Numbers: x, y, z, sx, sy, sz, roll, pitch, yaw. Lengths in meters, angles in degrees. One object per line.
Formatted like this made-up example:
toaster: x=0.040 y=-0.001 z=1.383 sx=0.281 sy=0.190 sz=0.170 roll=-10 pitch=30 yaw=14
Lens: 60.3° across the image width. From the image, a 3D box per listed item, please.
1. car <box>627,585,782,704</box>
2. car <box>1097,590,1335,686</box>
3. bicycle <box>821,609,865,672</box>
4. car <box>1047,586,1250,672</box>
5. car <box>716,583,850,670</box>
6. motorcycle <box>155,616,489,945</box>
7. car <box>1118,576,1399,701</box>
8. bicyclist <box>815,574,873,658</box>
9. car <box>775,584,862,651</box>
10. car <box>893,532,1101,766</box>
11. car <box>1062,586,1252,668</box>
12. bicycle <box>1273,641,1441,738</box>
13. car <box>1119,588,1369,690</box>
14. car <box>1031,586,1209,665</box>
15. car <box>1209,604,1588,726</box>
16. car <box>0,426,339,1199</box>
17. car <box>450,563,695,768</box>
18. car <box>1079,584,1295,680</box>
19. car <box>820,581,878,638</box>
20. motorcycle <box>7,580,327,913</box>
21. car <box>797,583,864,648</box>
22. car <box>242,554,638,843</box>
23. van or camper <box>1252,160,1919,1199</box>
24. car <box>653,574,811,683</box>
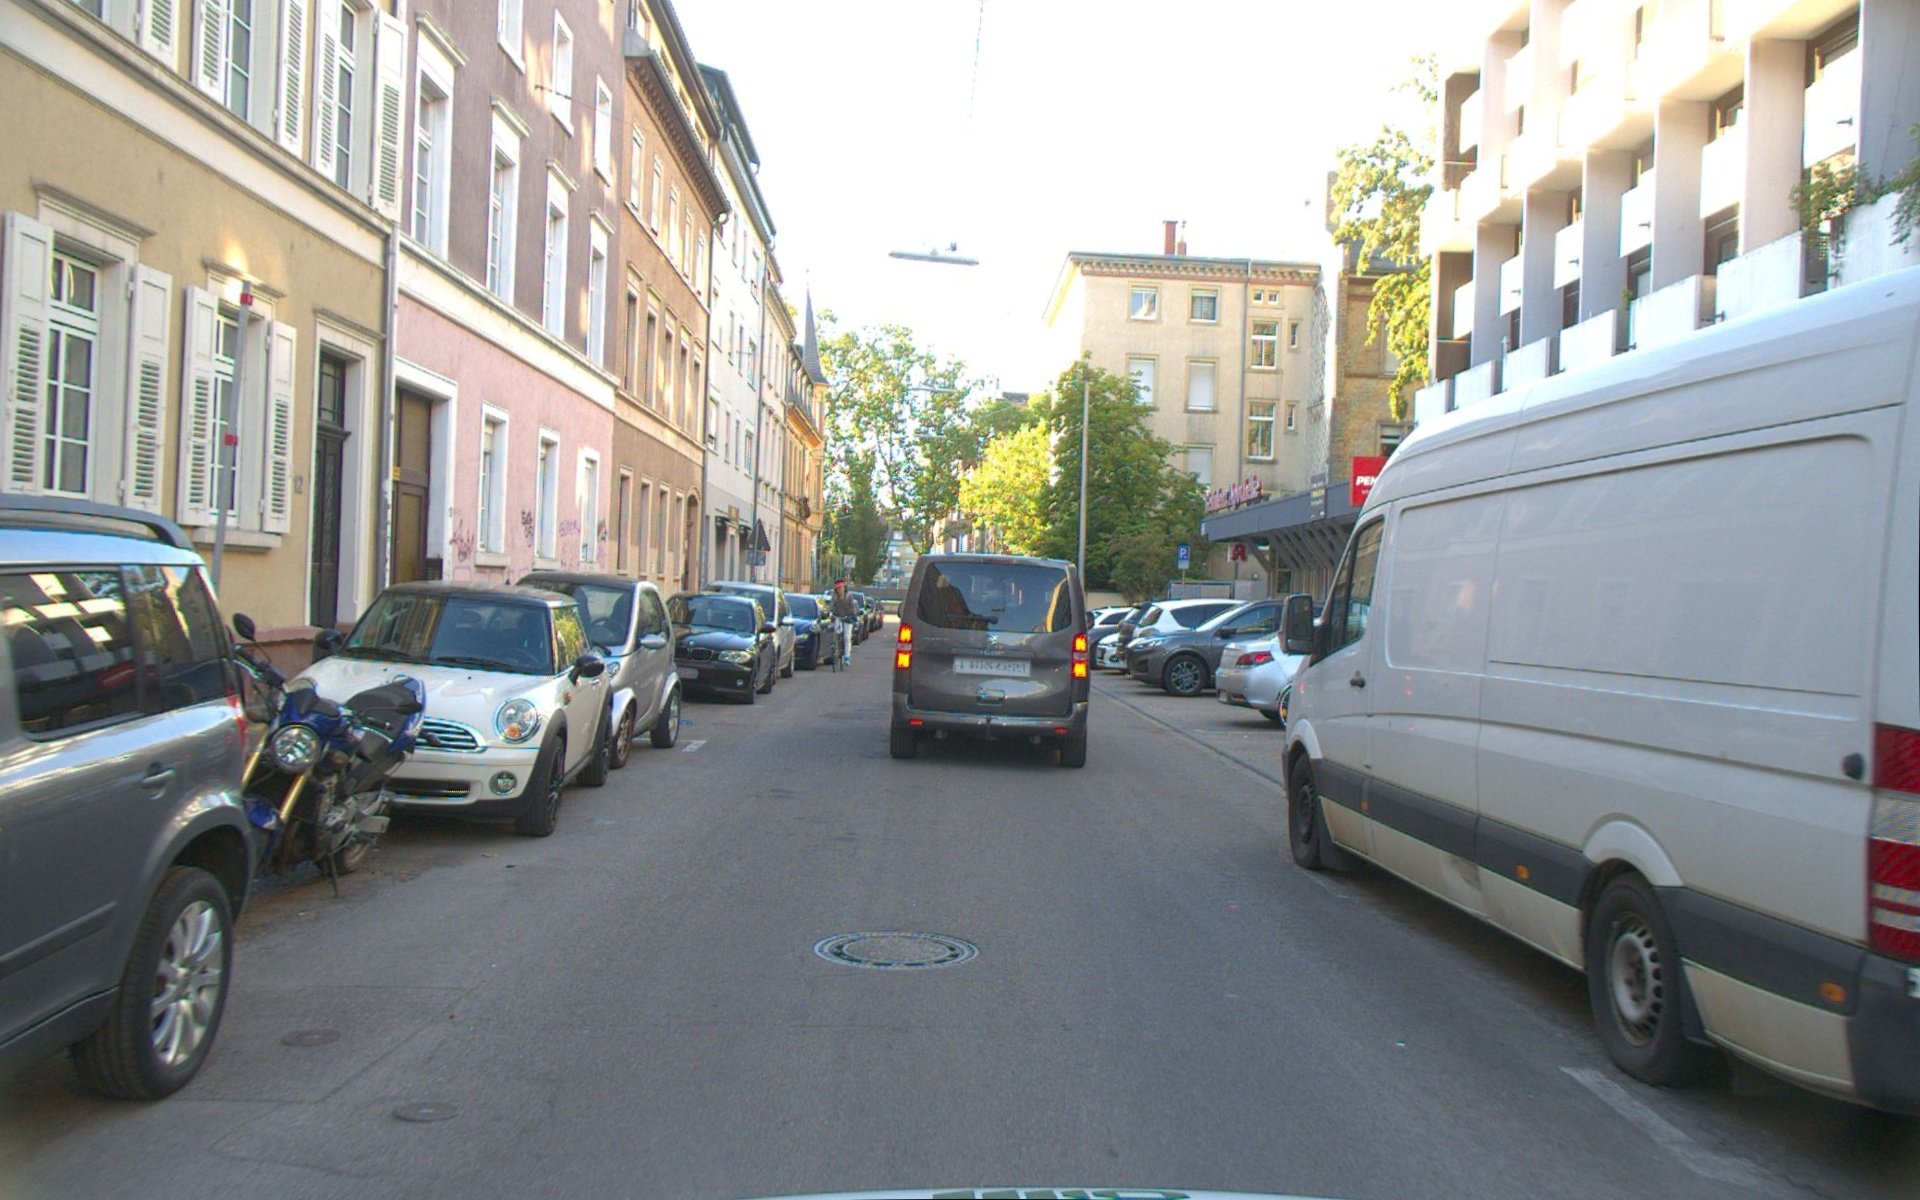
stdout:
car: x=-3.521 y=0.556 z=23.492 sx=1.753 sy=1.422 sz=4.464 roll=3 pitch=0 yaw=-4
car: x=5.295 y=0.774 z=34.504 sx=4.484 sy=1.734 sz=1.996 roll=3 pitch=0 yaw=-9
bicycle: x=-2.268 y=0.767 z=32.289 sx=0.608 sy=1.158 sz=2.258 roll=1 pitch=0 yaw=2
car: x=4.520 y=0.686 z=40.025 sx=4.484 sy=1.823 sz=1.996 roll=3 pitch=0 yaw=-9
car: x=-3.580 y=0.503 z=34.304 sx=1.952 sy=1.587 sz=4.587 roll=3 pitch=0 yaw=3
motorcycle: x=-2.901 y=0.735 z=7.855 sx=0.696 sy=1.256 sz=2.474 roll=2 pitch=0 yaw=-3
car: x=5.165 y=0.654 z=29.036 sx=4.478 sy=1.891 sz=1.999 roll=3 pitch=0 yaw=-3
bicyclist: x=-2.283 y=0.309 z=32.590 sx=1.013 sy=1.605 sz=0.833 roll=1 pitch=0 yaw=3
car: x=-3.720 y=0.433 z=43.907 sx=2.102 sy=1.588 sz=4.581 roll=3 pitch=0 yaw=-4
car: x=0.346 y=0.417 z=16.547 sx=1.819 sy=2.049 sz=4.000 roll=0 pitch=0 yaw=1
car: x=5.076 y=0.689 z=43.019 sx=4.484 sy=1.891 sz=1.996 roll=3 pitch=0 yaw=-9
bicycle: x=4.780 y=1.076 z=19.994 sx=1.859 sy=1.085 sz=0.679 roll=1 pitch=0 yaw=2
car: x=5.411 y=0.736 z=31.831 sx=4.370 sy=1.705 sz=1.795 roll=3 pitch=0 yaw=-6
car: x=4.363 y=0.685 z=45.427 sx=4.484 sy=1.891 sz=1.996 roll=3 pitch=0 yaw=-9
car: x=5.712 y=0.825 z=21.916 sx=4.532 sy=1.491 sz=1.840 roll=0 pitch=0 yaw=-2
car: x=-3.002 y=0.472 z=3.497 sx=1.826 sy=1.781 sz=4.291 roll=3 pitch=0 yaw=-2
car: x=-3.288 y=0.517 z=14.477 sx=1.357 sy=1.558 sz=2.749 roll=3 pitch=0 yaw=2
car: x=5.056 y=0.696 z=37.111 sx=4.390 sy=1.891 sz=1.881 roll=3 pitch=0 yaw=-9
car: x=-4.016 y=0.325 z=59.674 sx=1.954 sy=1.891 sz=4.581 roll=3 pitch=0 yaw=-4
motorcycle: x=-3.770 y=0.628 z=8.051 sx=0.691 sy=1.414 sz=1.848 roll=2 pitch=0 yaw=-3
car: x=-4.102 y=0.449 z=52.495 sx=1.954 sy=1.891 sz=4.581 roll=3 pitch=0 yaw=-4
car: x=-3.240 y=0.536 z=11.063 sx=1.678 sy=1.523 sz=3.851 roll=3 pitch=0 yaw=-5
van or camper: x=3.221 y=0.243 z=7.587 sx=2.057 sy=2.647 sz=7.508 roll=1 pitch=0 yaw=-3
car: x=-3.801 y=0.445 z=28.397 sx=1.953 sy=1.633 sz=4.585 roll=3 pitch=0 yaw=1
